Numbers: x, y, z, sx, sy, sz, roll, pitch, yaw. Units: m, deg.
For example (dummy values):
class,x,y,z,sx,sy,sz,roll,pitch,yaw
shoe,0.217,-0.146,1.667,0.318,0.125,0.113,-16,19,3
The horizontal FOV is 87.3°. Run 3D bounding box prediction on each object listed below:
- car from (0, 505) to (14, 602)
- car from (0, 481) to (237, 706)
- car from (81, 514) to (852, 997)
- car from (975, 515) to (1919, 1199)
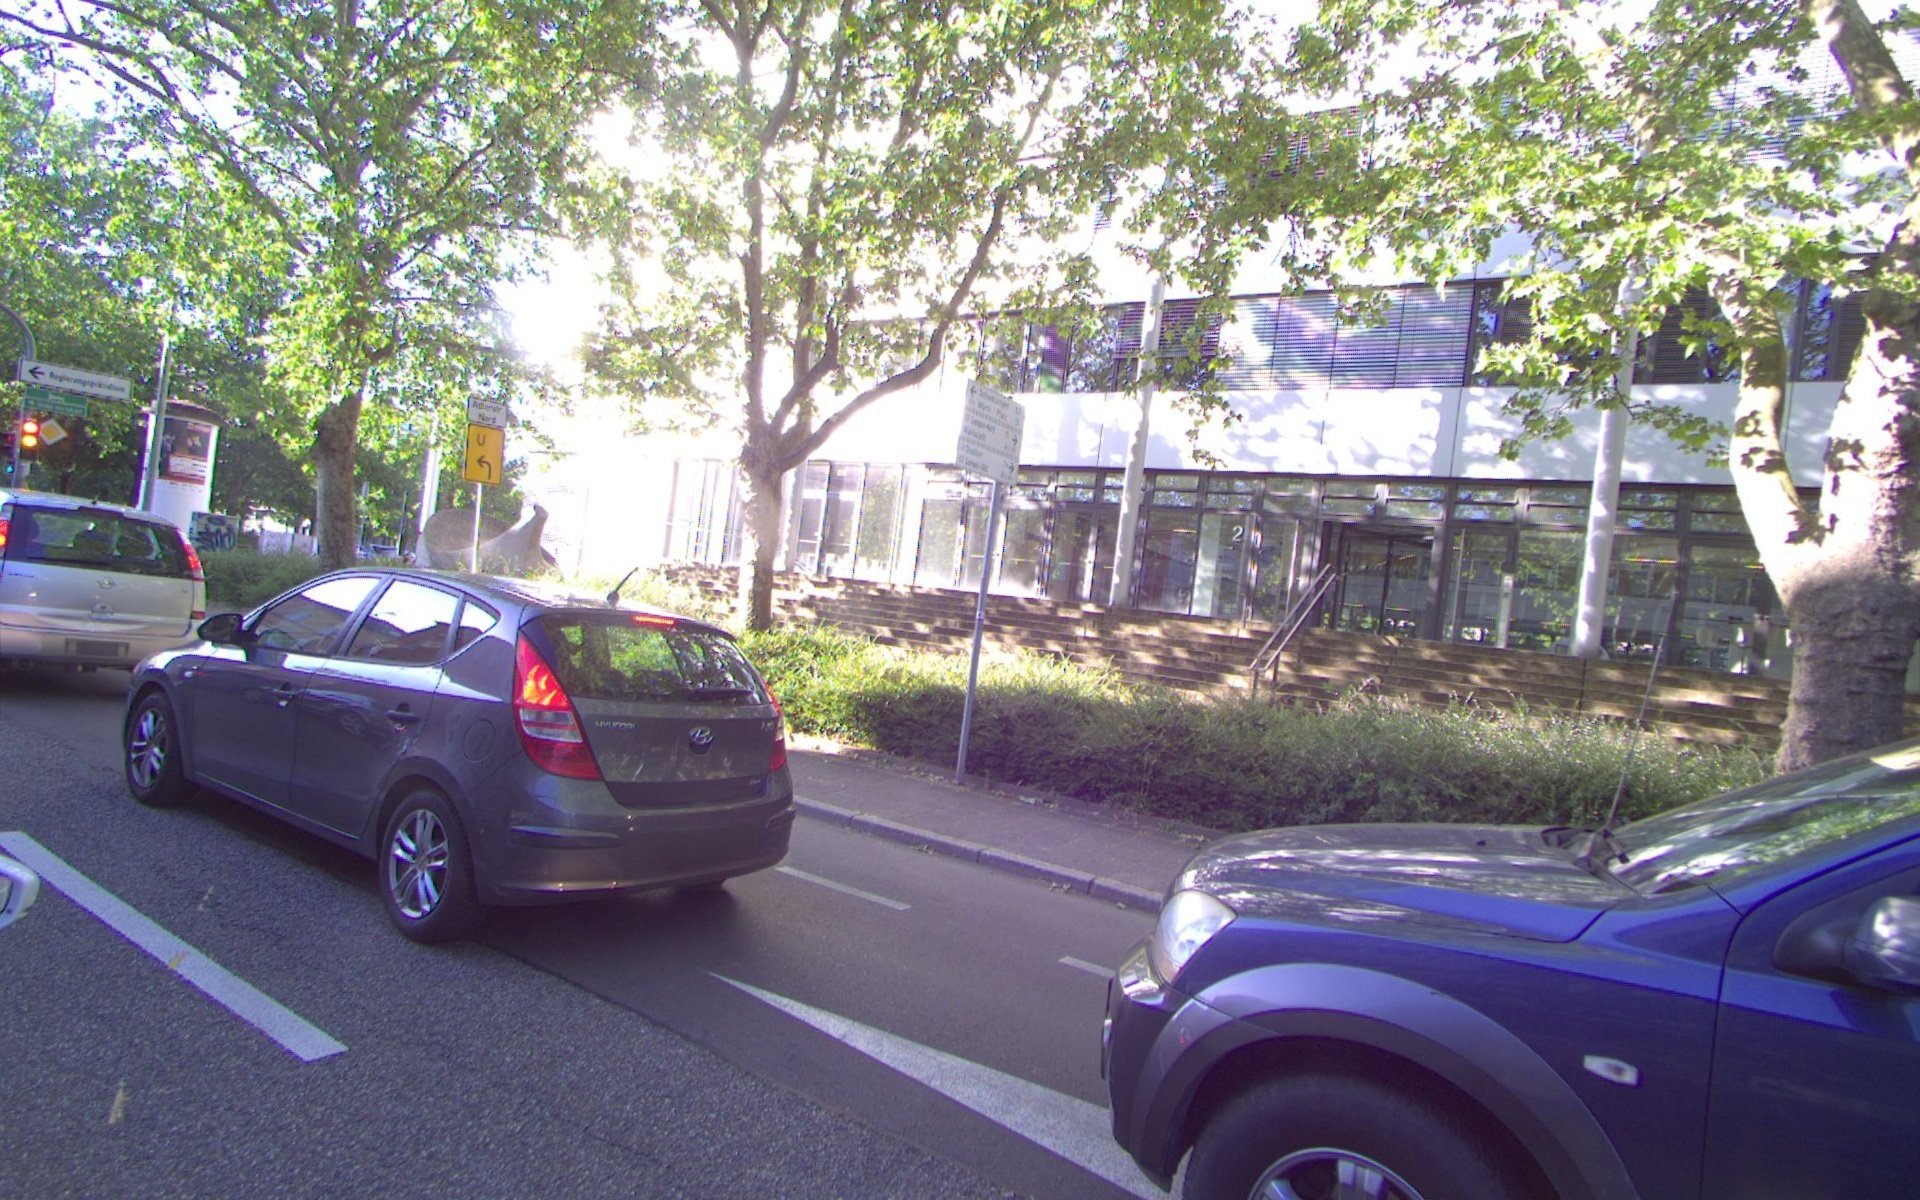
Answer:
class,x,y,z,sx,sy,sz,roll,pitch,yaw
car,-14.051,-0.731,12.645,4.592,1.481,1.917,7,-2,32
car,-8.397,-0.171,9.034,3.797,1.620,1.705,7,-3,34
car,-2.699,0.549,5.263,3.910,1.498,1.648,7,-3,32
car,2.401,0.995,1.998,4.313,1.790,1.784,7,-3,33
